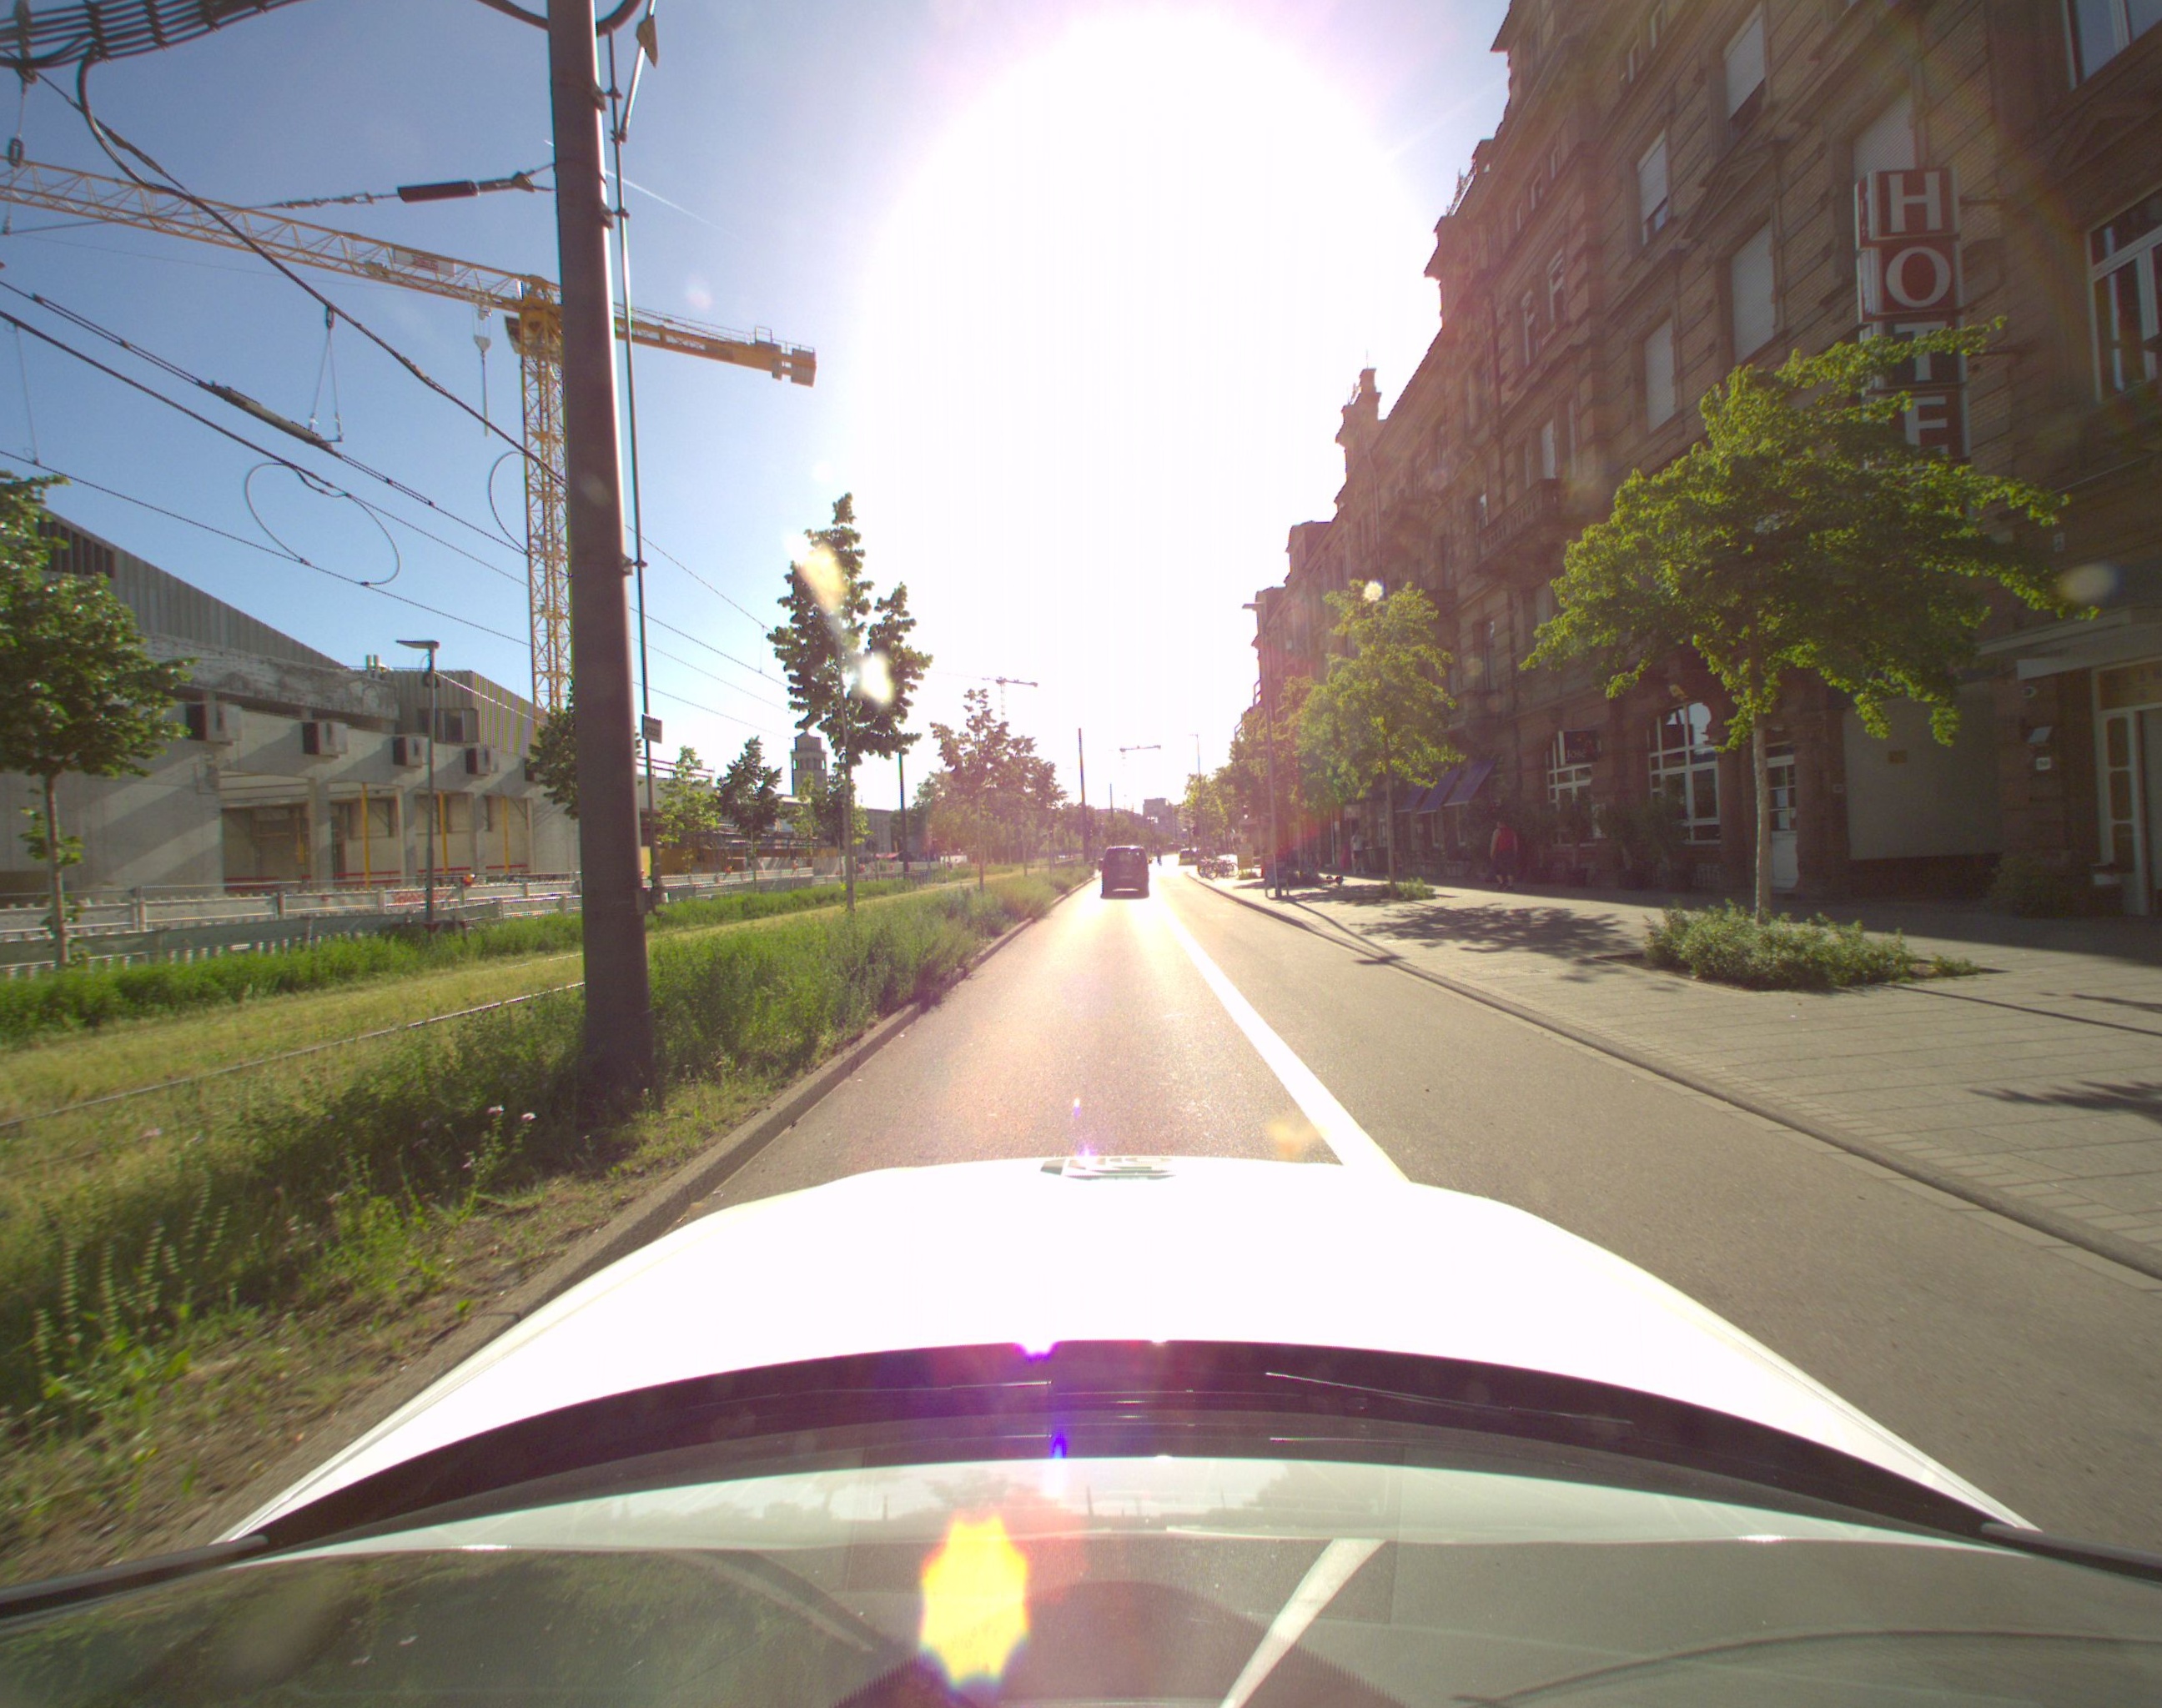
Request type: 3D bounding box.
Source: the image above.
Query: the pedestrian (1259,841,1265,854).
[{"bbox_3d":[22.187,-0.796,99.778,0.695,1.652,0.726,-3,0,10],"label":"pedestrian"}]

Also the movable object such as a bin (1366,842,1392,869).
[{"bbox_3d":[12.239,0.058,33.470,0.723,1.098,0.747,-2,0,-3],"label":"movable object such as a bin"}]

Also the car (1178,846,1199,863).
[{"bbox_3d":[10.955,0.059,83.151,1.978,1.638,4.198,-2,-1,7],"label":"car"}]

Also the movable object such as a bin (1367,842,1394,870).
[{"bbox_3d":[12.027,0.075,32.707,0.723,1.098,0.747,-2,0,-3],"label":"movable object such as a bin"}]

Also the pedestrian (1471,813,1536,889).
[{"bbox_3d":[10.126,-0.063,19.542,0.992,1.731,0.866,-4,-1,1],"label":"pedestrian"}]

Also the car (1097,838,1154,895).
[{"bbox_3d":[1.702,0.471,31.471,1.986,2.014,4.002,-2,-1,2],"label":"car"}]

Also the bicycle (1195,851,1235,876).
[{"bbox_3d":[7.244,0.514,44.090,1.912,1.121,0.664,-6,-1,-4],"label":"bicycle"}]

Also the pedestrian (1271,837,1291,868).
[{"bbox_3d":[11.637,-0.067,47.428,0.841,1.742,0.887,-4,-1,3],"label":"pedestrian"}]

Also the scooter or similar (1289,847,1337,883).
[{"bbox_3d":[8.005,0.377,28.153,1.473,1.216,0.600,1,0,-9],"label":"scooter or similar"}]

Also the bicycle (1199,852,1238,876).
[{"bbox_3d":[7.172,0.542,42.574,1.821,1.078,0.664,-6,-1,-4],"label":"bicycle"}]

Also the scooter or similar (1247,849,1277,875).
[{"bbox_3d":[8.456,0.373,38.151,1.214,1.106,0.784,-4,0,4],"label":"scooter or similar"}]

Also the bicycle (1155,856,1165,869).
[{"bbox_3d":[7.006,0.749,72.072,0.698,1.091,2.278,-2,0,2],"label":"bicycle"}]

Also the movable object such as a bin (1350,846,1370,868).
[{"bbox_3d":[12.333,0.139,35.971,0.602,0.916,0.650,-2,0,-3],"label":"movable object such as a bin"}]

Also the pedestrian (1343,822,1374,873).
[{"bbox_3d":[11.179,-0.248,32.841,0.814,2.014,1.046,-2,-3,2],"label":"pedestrian"}]

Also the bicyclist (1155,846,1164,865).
[{"bbox_3d":[6.986,0.125,72.164,0.680,1.584,0.840,-2,0,1],"label":"bicyclist"}]

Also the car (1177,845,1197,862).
[{"bbox_3d":[11.644,-0.008,89.455,2.010,1.722,4.127,-2,-1,7],"label":"car"}]

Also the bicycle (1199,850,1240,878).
[{"bbox_3d":[6.983,0.512,41.043,1.875,1.233,0.499,-5,-1,-4],"label":"bicycle"}]

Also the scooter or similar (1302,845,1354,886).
[{"bbox_3d":[8.303,0.376,27.404,1.470,1.216,0.601,-5,1,-2],"label":"scooter or similar"}]
